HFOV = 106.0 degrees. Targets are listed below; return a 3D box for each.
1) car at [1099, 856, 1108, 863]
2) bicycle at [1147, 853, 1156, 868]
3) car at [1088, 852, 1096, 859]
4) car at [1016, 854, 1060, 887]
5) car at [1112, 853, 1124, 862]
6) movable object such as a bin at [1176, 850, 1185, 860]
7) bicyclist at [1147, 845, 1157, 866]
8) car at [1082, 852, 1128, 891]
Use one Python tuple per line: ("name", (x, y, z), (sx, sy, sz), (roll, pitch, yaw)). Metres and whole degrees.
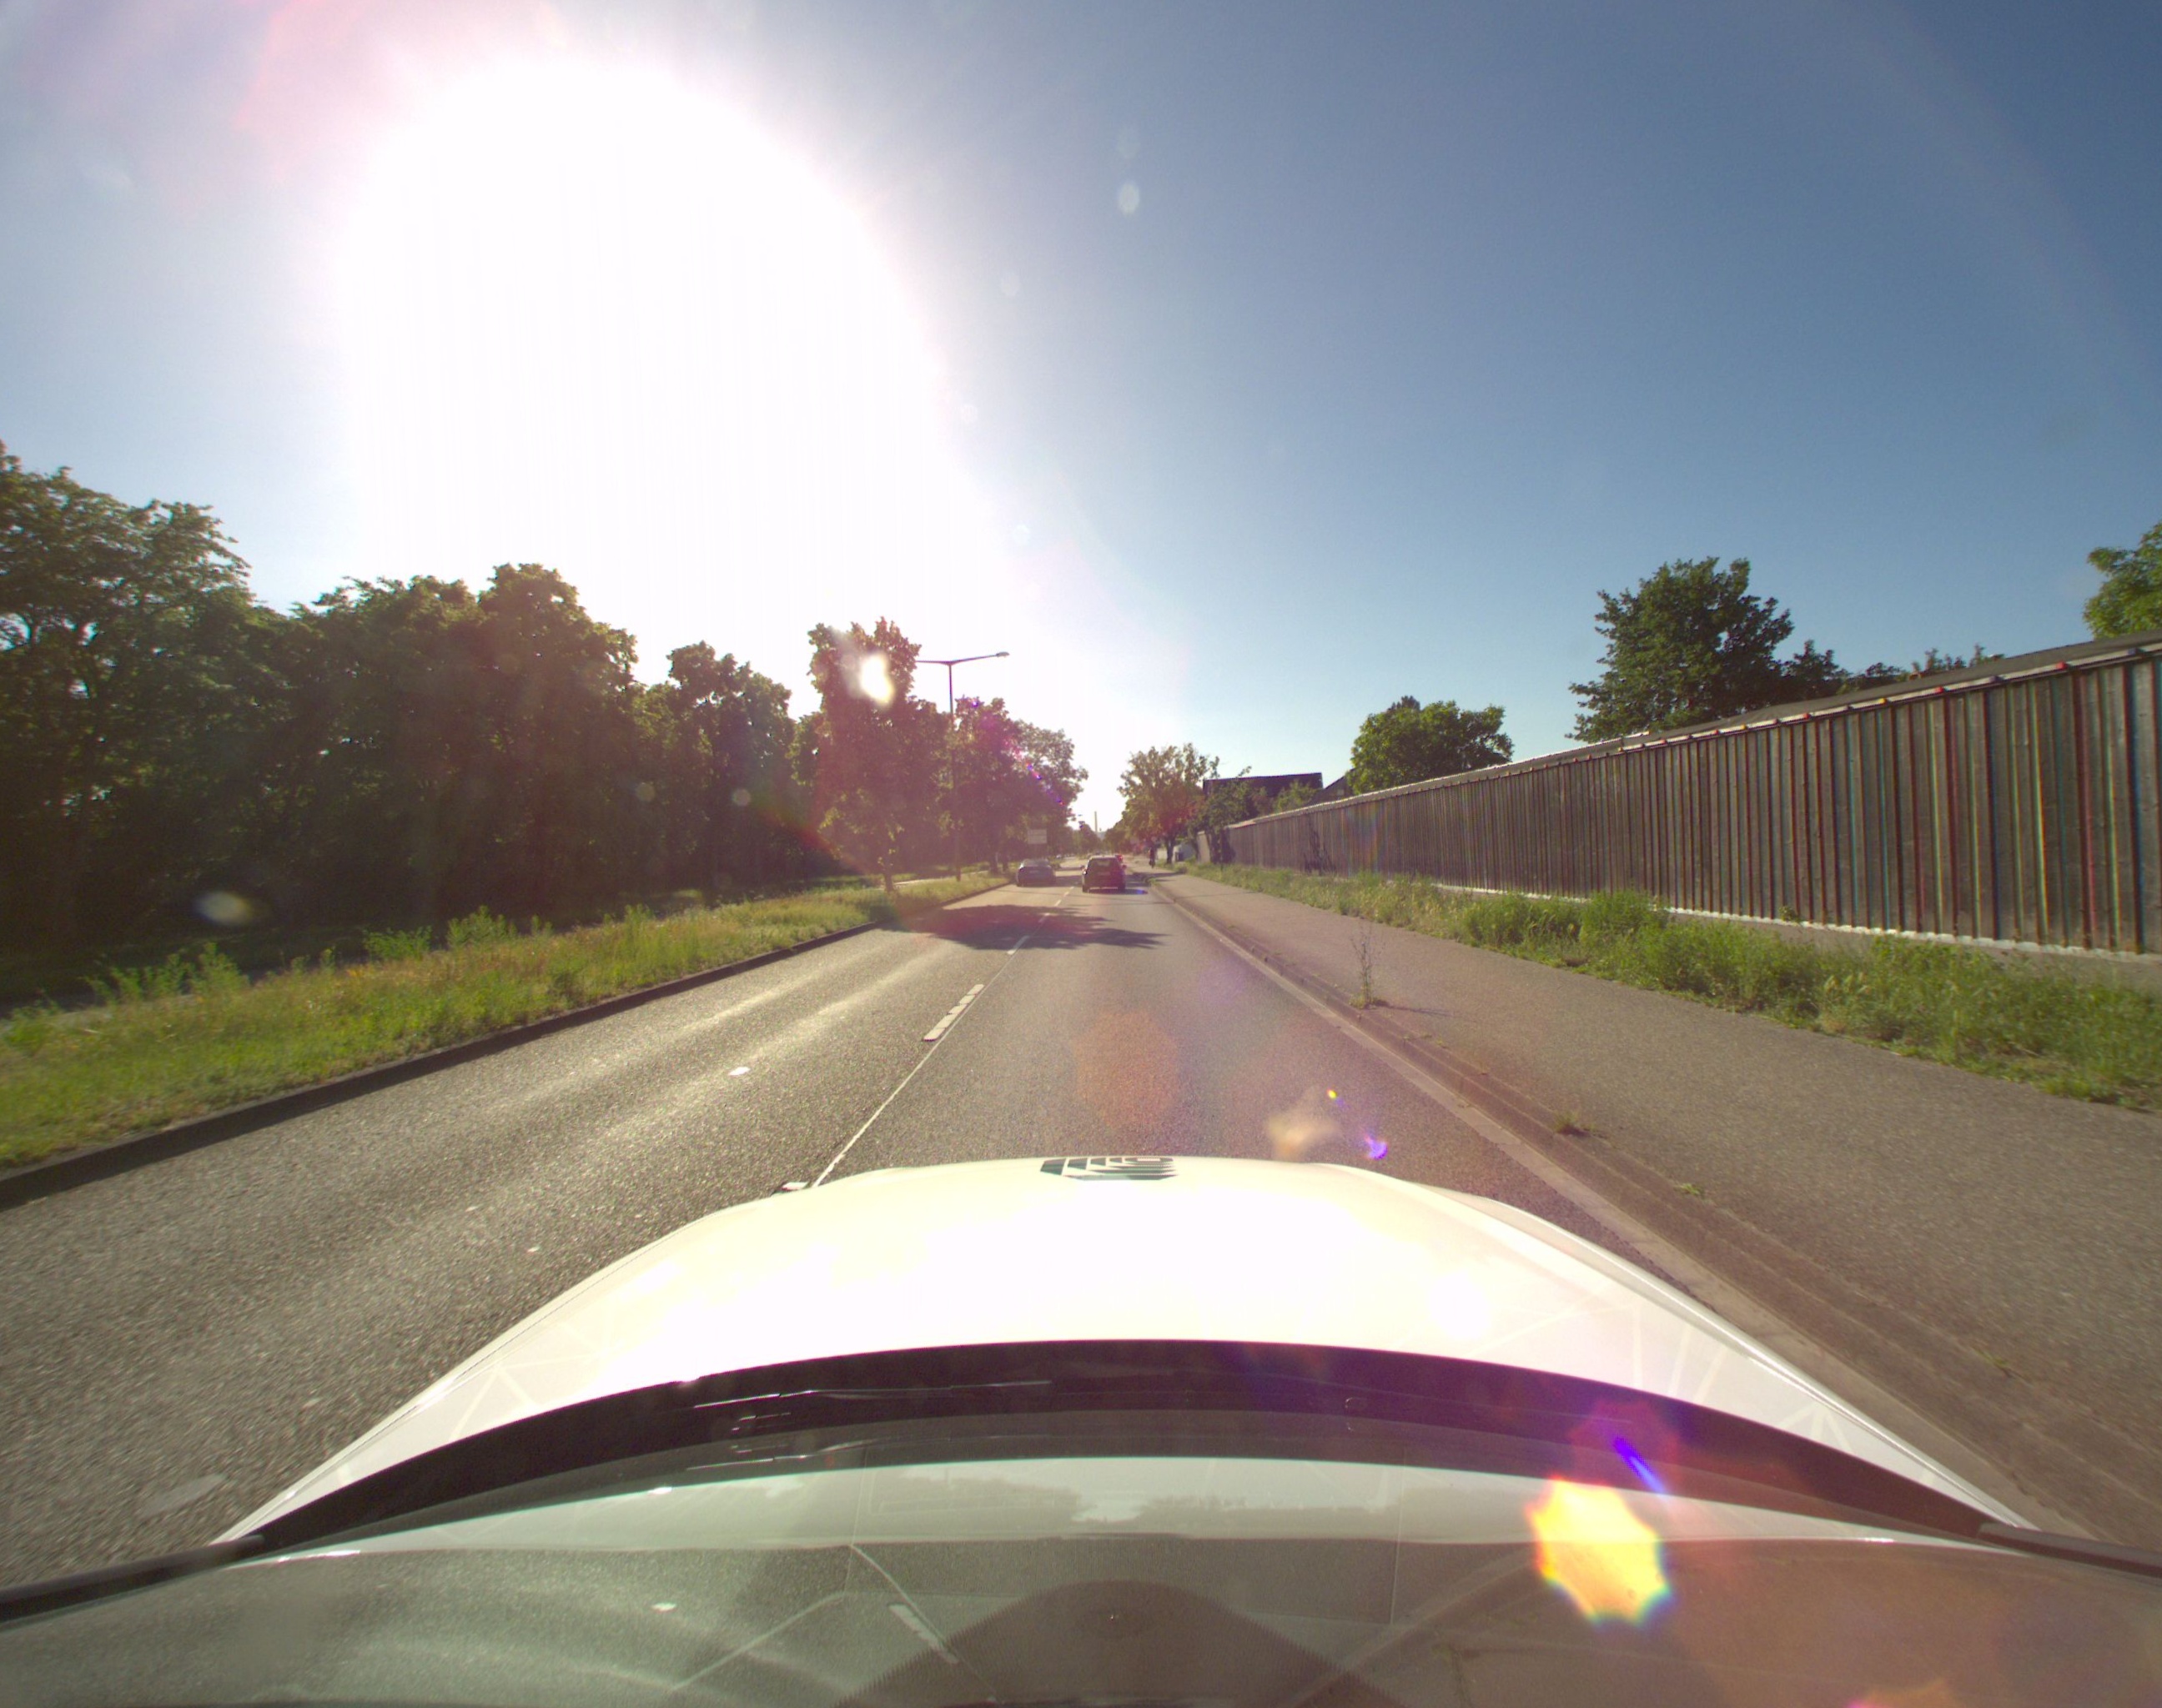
("car", (4.945, 1.186, 179.537), (1.726, 1.585, 3.840), (-1, 0, 1))
("bicycle", (5.801, 0.527, 66.743), (0.571, 1.155, 2.145), (-6, 0, 7))
("car", (2.829, 0.379, 206.744), (1.818, 1.615, 3.841), (-3, 0, 1))
("car", (-2.206, 0.828, 42.553), (1.881, 1.552, 4.001), (-3, -1, 2))
("car", (6.064, 0.601, 133.434), (1.724, 1.459, 3.845), (-2, 0, 5))
("movable object such as a bin", (12.187, 0.110, 99.670), (0.996, 1.205, 1.065), (-4, -1, 9))
("bicyclist", (5.791, 0.126, 66.812), (0.626, 1.632, 0.984), (-6, 0, 7))
("car", (1.001, 0.709, 34.062), (1.749, 1.509, 3.810), (-2, -1, 1))
